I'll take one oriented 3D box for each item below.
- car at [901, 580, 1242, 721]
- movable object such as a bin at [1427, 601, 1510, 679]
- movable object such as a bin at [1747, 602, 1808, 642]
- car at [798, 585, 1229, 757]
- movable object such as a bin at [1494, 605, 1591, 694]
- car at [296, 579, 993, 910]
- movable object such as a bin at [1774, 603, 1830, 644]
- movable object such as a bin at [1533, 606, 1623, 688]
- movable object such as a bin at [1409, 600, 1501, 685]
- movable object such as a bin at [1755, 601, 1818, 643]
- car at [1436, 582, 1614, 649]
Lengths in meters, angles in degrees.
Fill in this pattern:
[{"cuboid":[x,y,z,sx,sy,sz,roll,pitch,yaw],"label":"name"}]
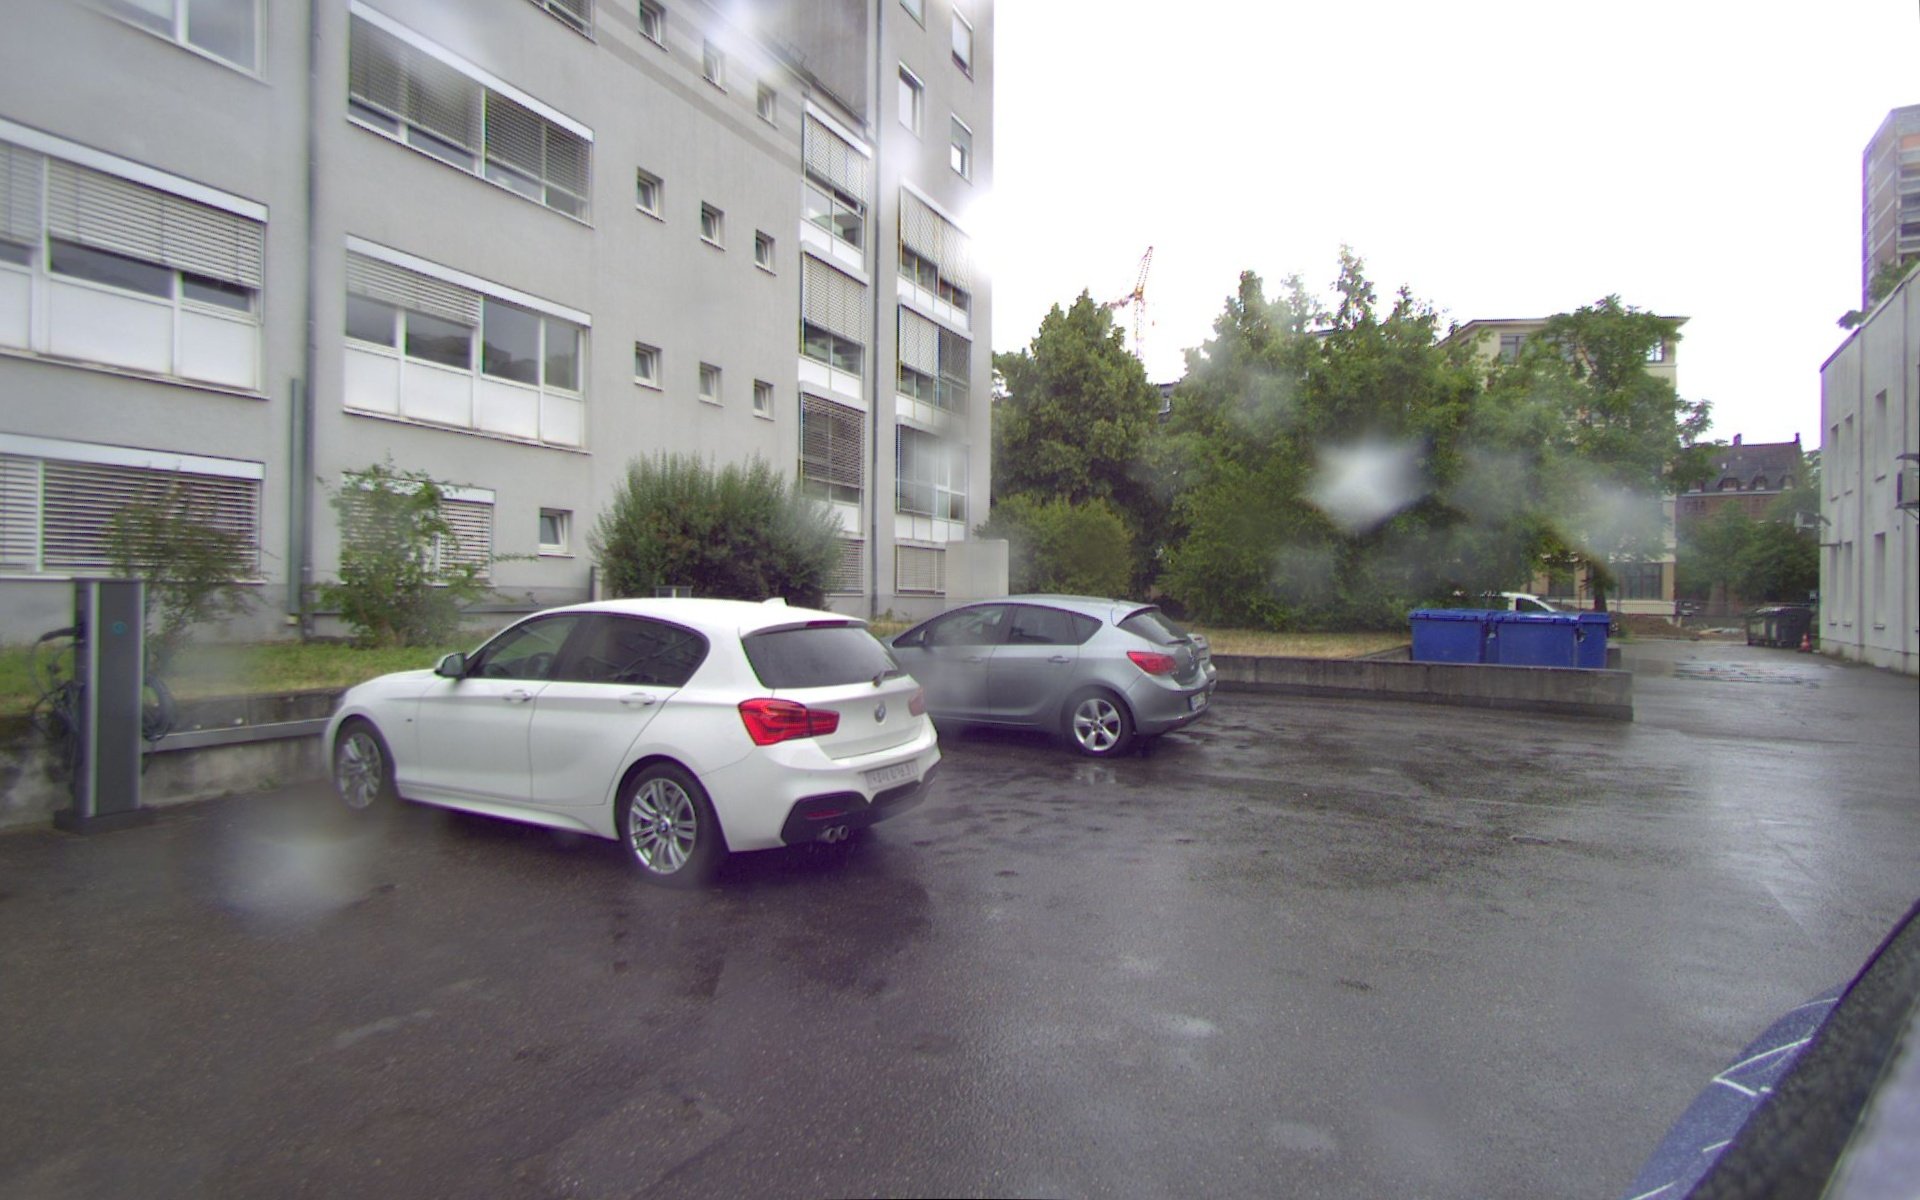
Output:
[{"cuboid":[1.485,0.588,13.881,4.188,1.508,1.978,3,1,31],"label":"car"},{"cuboid":[9.638,0.748,19.140,1.224,1.375,1.947,-1,-3,32],"label":"movable object such as a bin"},{"cuboid":[30.210,0.819,37.440,1.478,1.467,1.300,-1,-3,28],"label":"movable object such as a bin"},{"cuboid":[0.543,0.623,10.820,4.184,1.508,1.979,1,-1,29],"label":"car"},{"cuboid":[9.667,0.802,16.760,1.303,1.375,1.882,-1,-3,32],"label":"movable object such as a bin"},{"cuboid":[-2.090,0.651,6.529,4.184,1.508,1.979,1,-1,29],"label":"car"},{"cuboid":[28.968,0.818,34.839,1.177,1.392,1.300,-1,-3,28],"label":"movable object such as a bin"},{"cuboid":[11.051,0.821,18.116,1.303,1.375,1.882,-1,-3,32],"label":"movable object such as a bin"},{"cuboid":[8.569,0.724,17.478,1.224,1.375,1.947,-1,-3,32],"label":"movable object such as a bin"},{"cuboid":[29.585,0.802,36.260,1.478,1.467,1.300,-1,-3,28],"label":"movable object such as a bin"},{"cuboid":[17.504,0.516,31.436,4.667,1.906,2.095,-1,-4,35],"label":"car"}]
